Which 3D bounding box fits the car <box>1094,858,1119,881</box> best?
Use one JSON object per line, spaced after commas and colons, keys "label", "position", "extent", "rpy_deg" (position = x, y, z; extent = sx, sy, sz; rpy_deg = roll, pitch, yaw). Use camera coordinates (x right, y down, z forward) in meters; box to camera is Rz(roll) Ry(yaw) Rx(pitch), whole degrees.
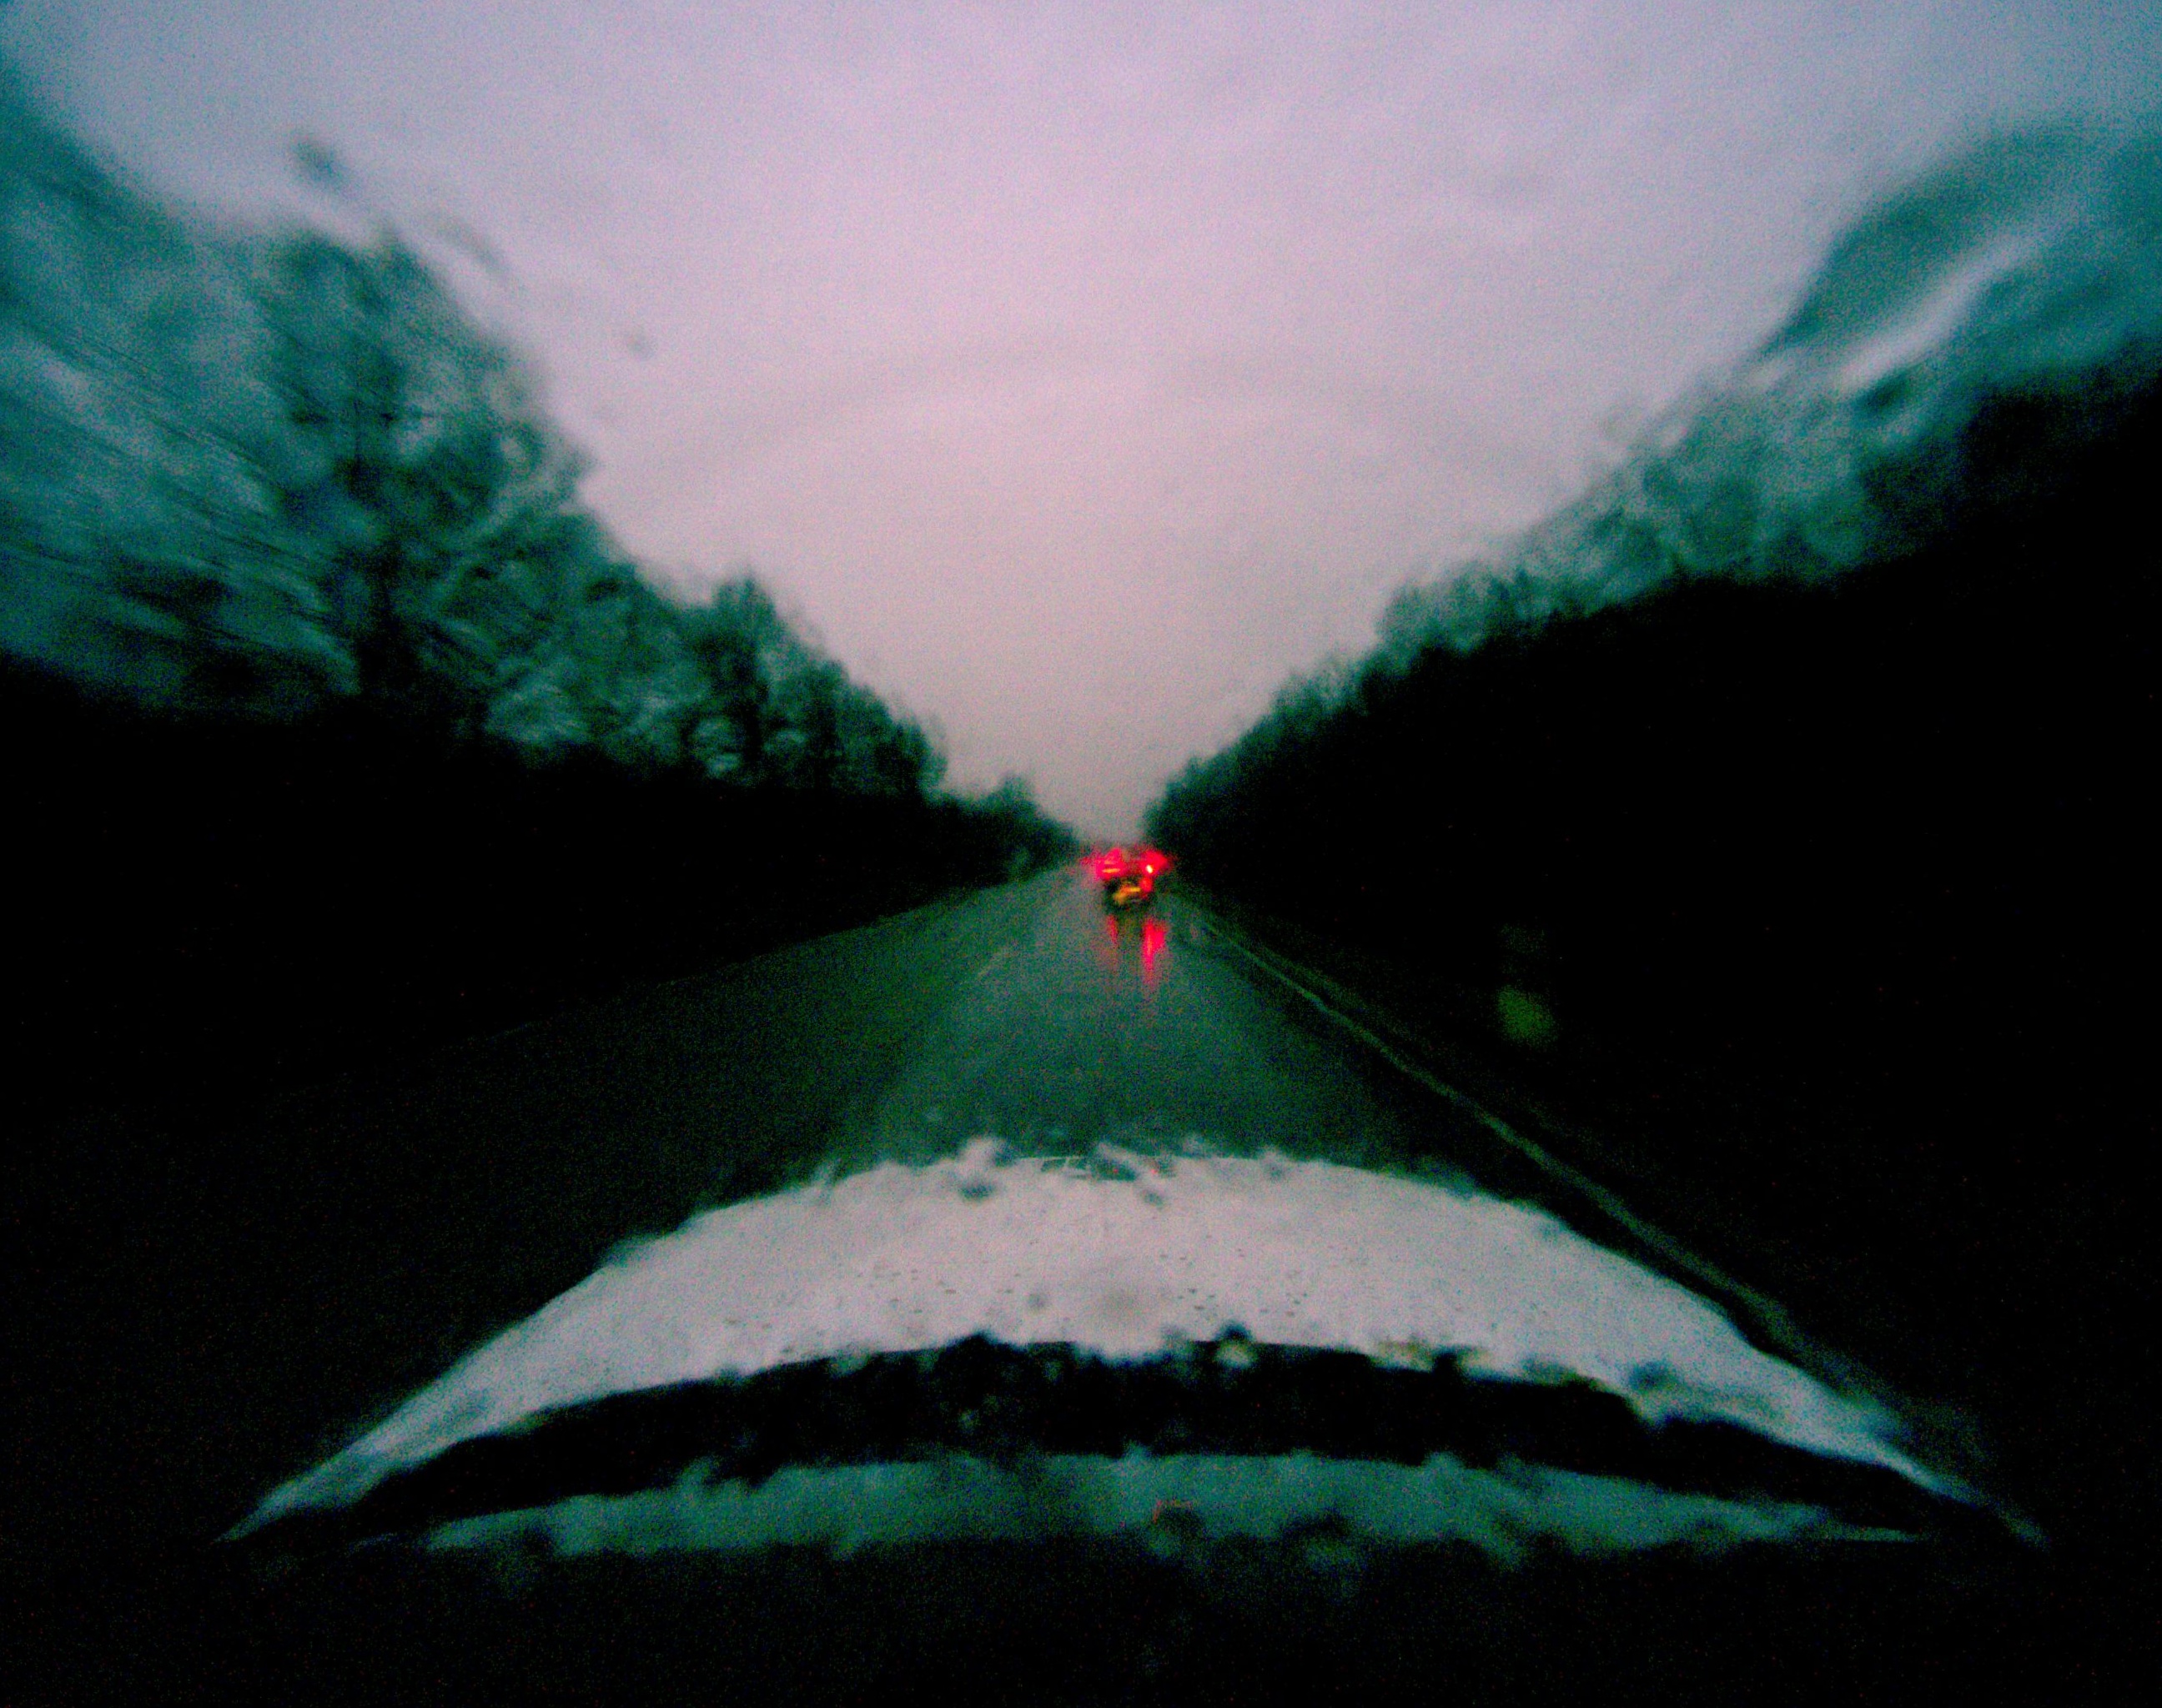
{"label": "car", "position": [1.913, 1.136, 60.311], "extent": [1.720, 1.643, 4.003], "rpy_deg": [-1, -1, 3]}

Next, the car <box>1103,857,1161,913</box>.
{"label": "car", "position": [1.632, 0.943, 26.333], "extent": [1.720, 1.643, 4.003], "rpy_deg": [-1, -1, 3]}
